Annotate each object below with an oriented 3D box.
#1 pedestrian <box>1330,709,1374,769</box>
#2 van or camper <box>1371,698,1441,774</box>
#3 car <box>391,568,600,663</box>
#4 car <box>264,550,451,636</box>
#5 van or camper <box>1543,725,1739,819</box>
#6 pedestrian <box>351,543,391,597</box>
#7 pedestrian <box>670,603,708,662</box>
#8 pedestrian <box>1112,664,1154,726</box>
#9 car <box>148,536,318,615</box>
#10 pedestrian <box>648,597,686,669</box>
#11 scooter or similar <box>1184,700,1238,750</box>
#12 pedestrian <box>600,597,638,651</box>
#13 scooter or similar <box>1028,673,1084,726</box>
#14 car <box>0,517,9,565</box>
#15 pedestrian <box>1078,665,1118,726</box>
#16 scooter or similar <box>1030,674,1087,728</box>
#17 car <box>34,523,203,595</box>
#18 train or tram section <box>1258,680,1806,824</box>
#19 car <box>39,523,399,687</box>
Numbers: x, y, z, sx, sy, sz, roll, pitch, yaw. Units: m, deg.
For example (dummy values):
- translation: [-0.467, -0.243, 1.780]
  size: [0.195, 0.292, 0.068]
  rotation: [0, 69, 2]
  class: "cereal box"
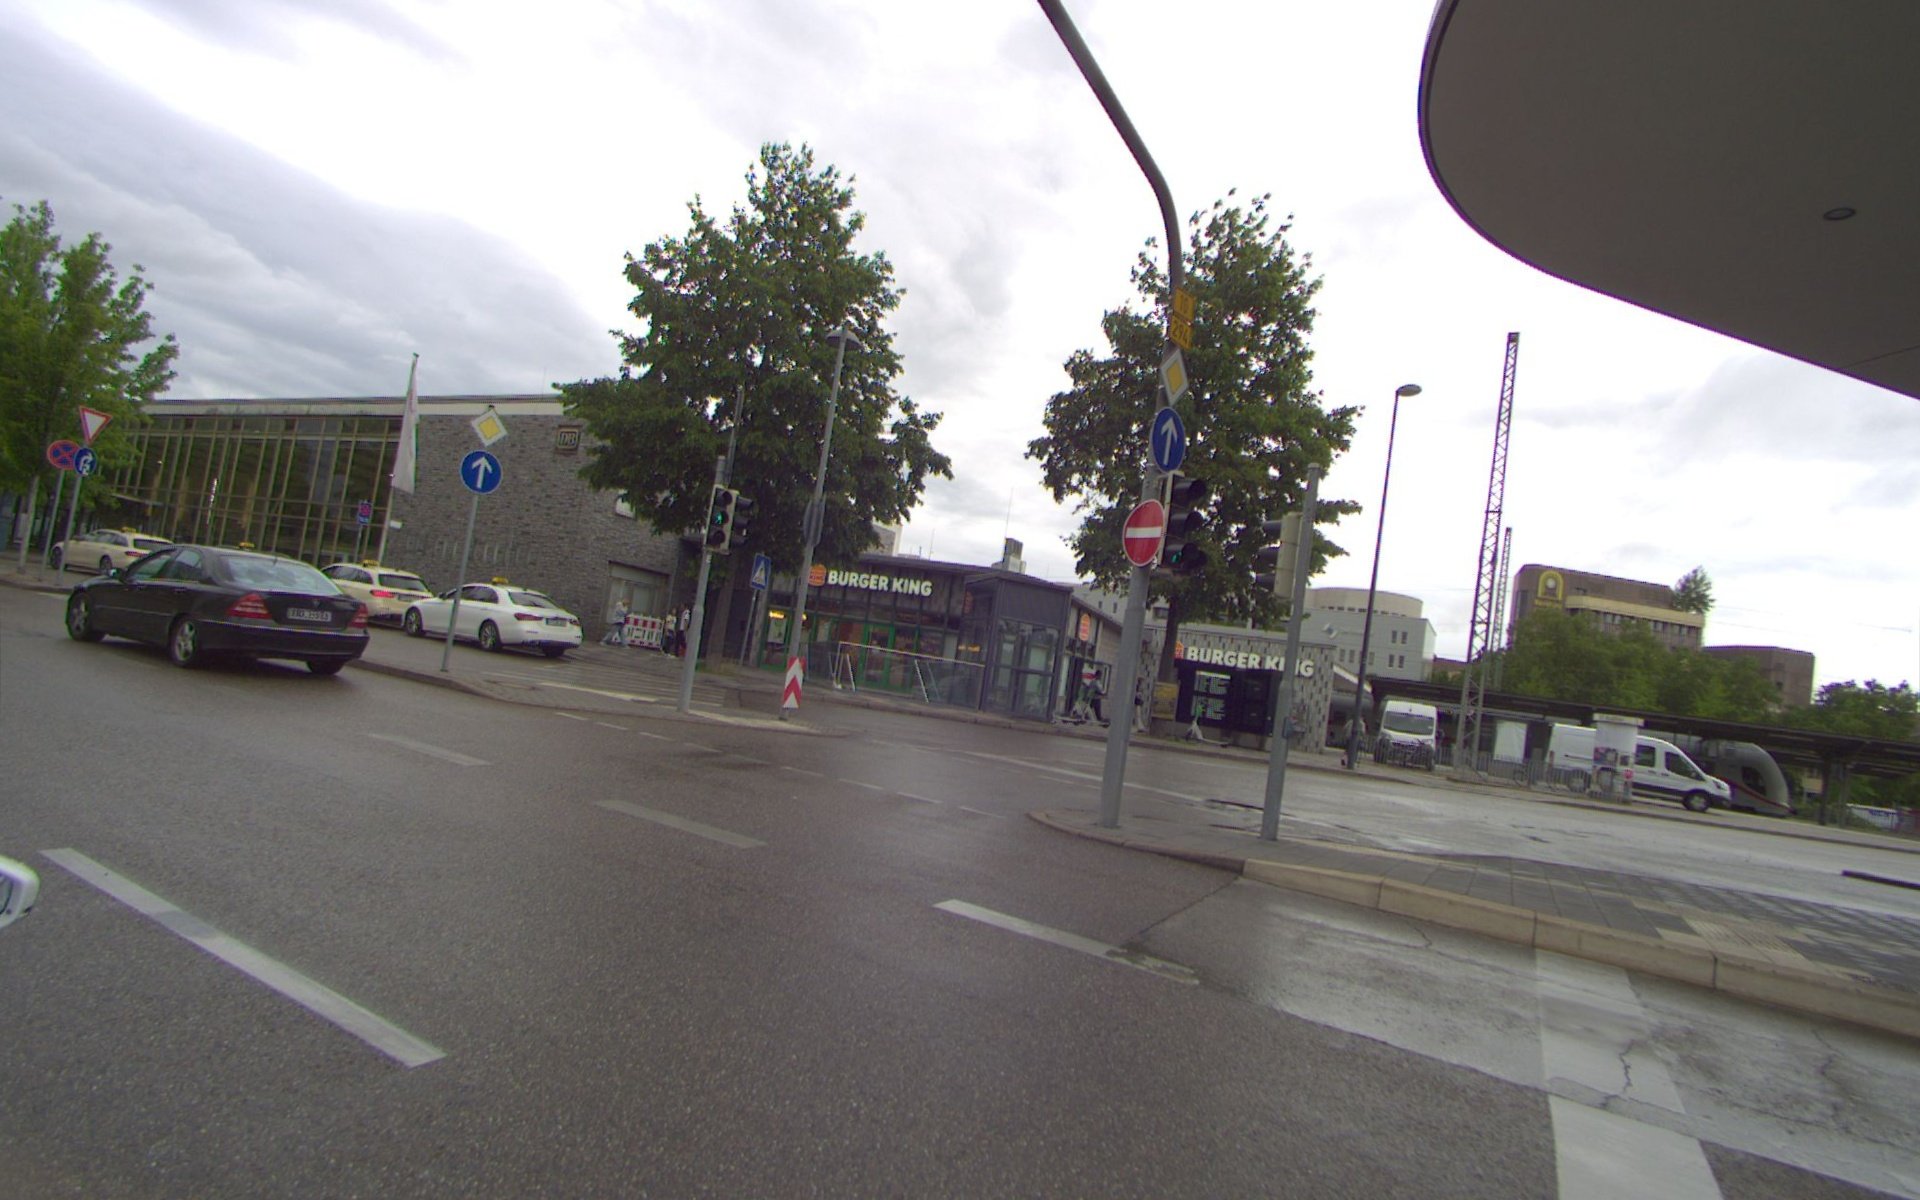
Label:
- translation: [11.119, 3.935, 28.552]
  size: [0.825, 1.547, 0.638]
  rotation: [7, -1, 1]
  class: "pedestrian"
- translation: [17.465, 5.235, 39.476]
  size: [2.126, 2.461, 5.866]
  rotation: [6, -3, 24]
  class: "van or camper"
- translation: [-10.789, 0.335, 23.293]
  size: [4.821, 1.618, 1.884]
  rotation: [6, -2, 31]
  class: "car"
- translation: [-15.768, -0.192, 26.274]
  size: [4.875, 1.618, 1.998]
  rotation: [6, -2, 31]
  class: "car"
- translation: [25.291, 6.328, 37.701]
  size: [5.766, 2.461, 1.998]
  rotation: [6, -2, 31]
  class: "van or camper"
- translation: [-19.304, -0.964, 32.987]
  size: [0.785, 1.645, 0.721]
  rotation: [7, -1, -14]
  class: "pedestrian"
- translation: [-8.260, 0.990, 30.676]
  size: [0.762, 1.686, 0.647]
  rotation: [6, -1, 9]
  class: "pedestrian"
- translation: [5.045, 2.770, 29.367]
  size: [0.786, 1.686, 0.720]
  rotation: [6, -2, 41]
  class: "pedestrian"
- translation: [-21.211, -0.739, 29.316]
  size: [4.874, 1.616, 2.000]
  rotation: [6, -4, 30]
  class: "car"
- translation: [-9.318, 1.055, 32.000]
  size: [0.709, 2.189, 0.798]
  rotation: [7, -1, 0]
  class: "pedestrian"
- translation: [6.878, 3.427, 27.631]
  size: [1.280, 1.196, 0.333]
  rotation: [7, -1, -3]
  class: "scooter or similar"
- translation: [-10.734, 0.760, 31.690]
  size: [0.706, 1.598, 0.761]
  rotation: [8, -2, -44]
  class: "pedestrian"
- translation: [2.486, 2.577, 26.134]
  size: [1.280, 1.196, 0.333]
  rotation: [7, -1, -3]
  class: "scooter or similar"
- translation: [-34.097, -2.315, 32.395]
  size: [4.696, 1.562, 1.763]
  rotation: [8, -3, -9]
  class: "car"
- translation: [4.151, 2.861, 30.282]
  size: [0.713, 1.686, 0.794]
  rotation: [7, -2, -21]
  class: "pedestrian"
- translation: [2.501, 2.558, 25.533]
  size: [1.280, 1.196, 0.333]
  rotation: [7, -1, -3]
  class: "scooter or similar"
- translation: [-26.821, -1.322, 32.065]
  size: [4.868, 1.618, 2.001]
  rotation: [7, -2, 23]
  class: "car"
- translation: [34.082, 8.986, 63.442]
  size: [28.818, 4.229, 4.601]
  rotation: [6, -2, 31]
  class: "train or tram section"
- translation: [-9.208, 0.044, 12.449]
  size: [4.374, 1.482, 1.700]
  rotation: [6, -2, 27]
  class: "car"
